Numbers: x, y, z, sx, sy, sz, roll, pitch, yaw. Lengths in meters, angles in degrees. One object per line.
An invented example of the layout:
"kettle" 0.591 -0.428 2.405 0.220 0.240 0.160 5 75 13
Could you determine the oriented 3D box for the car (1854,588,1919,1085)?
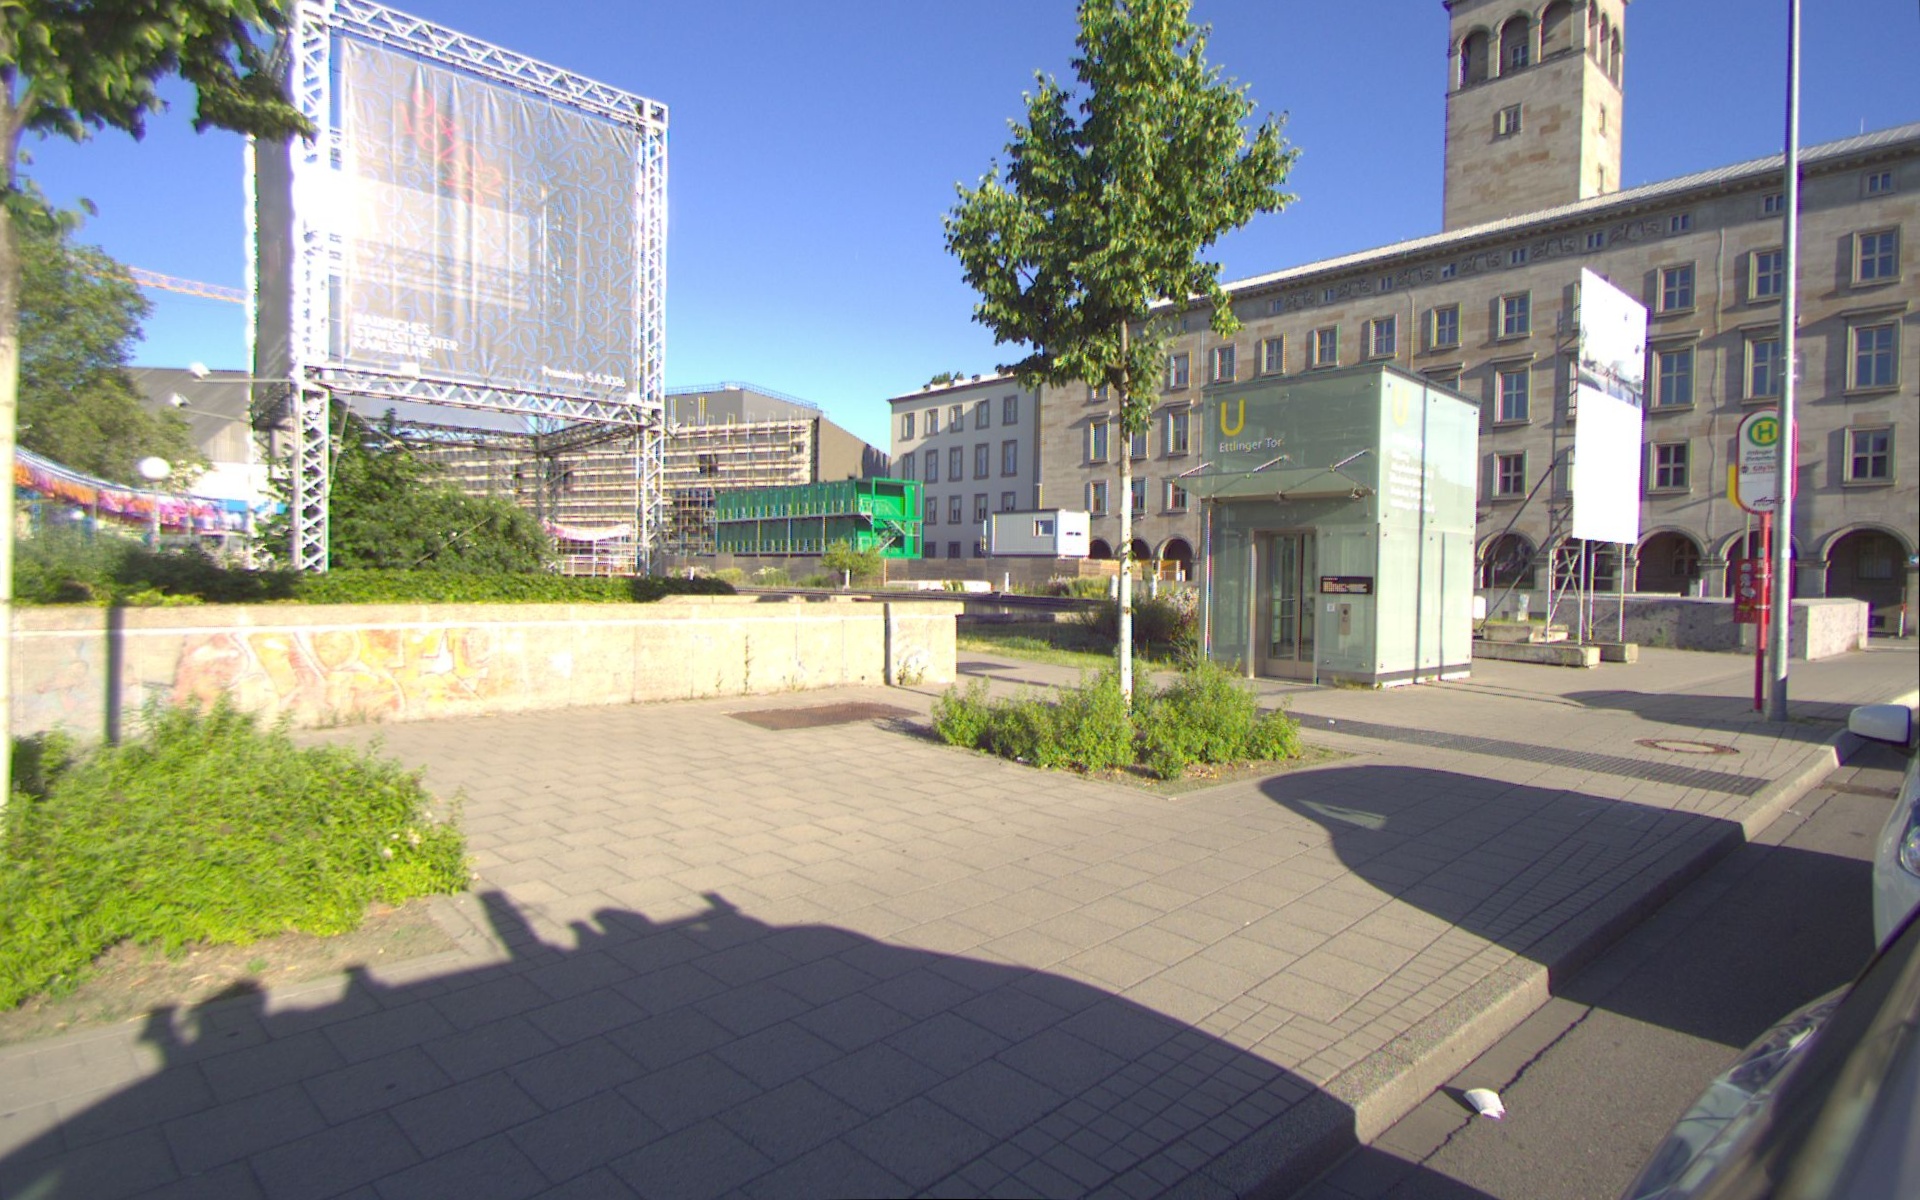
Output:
"car" 4.794 0.699 3.792 3.899 1.490 1.658 0 0 -41
